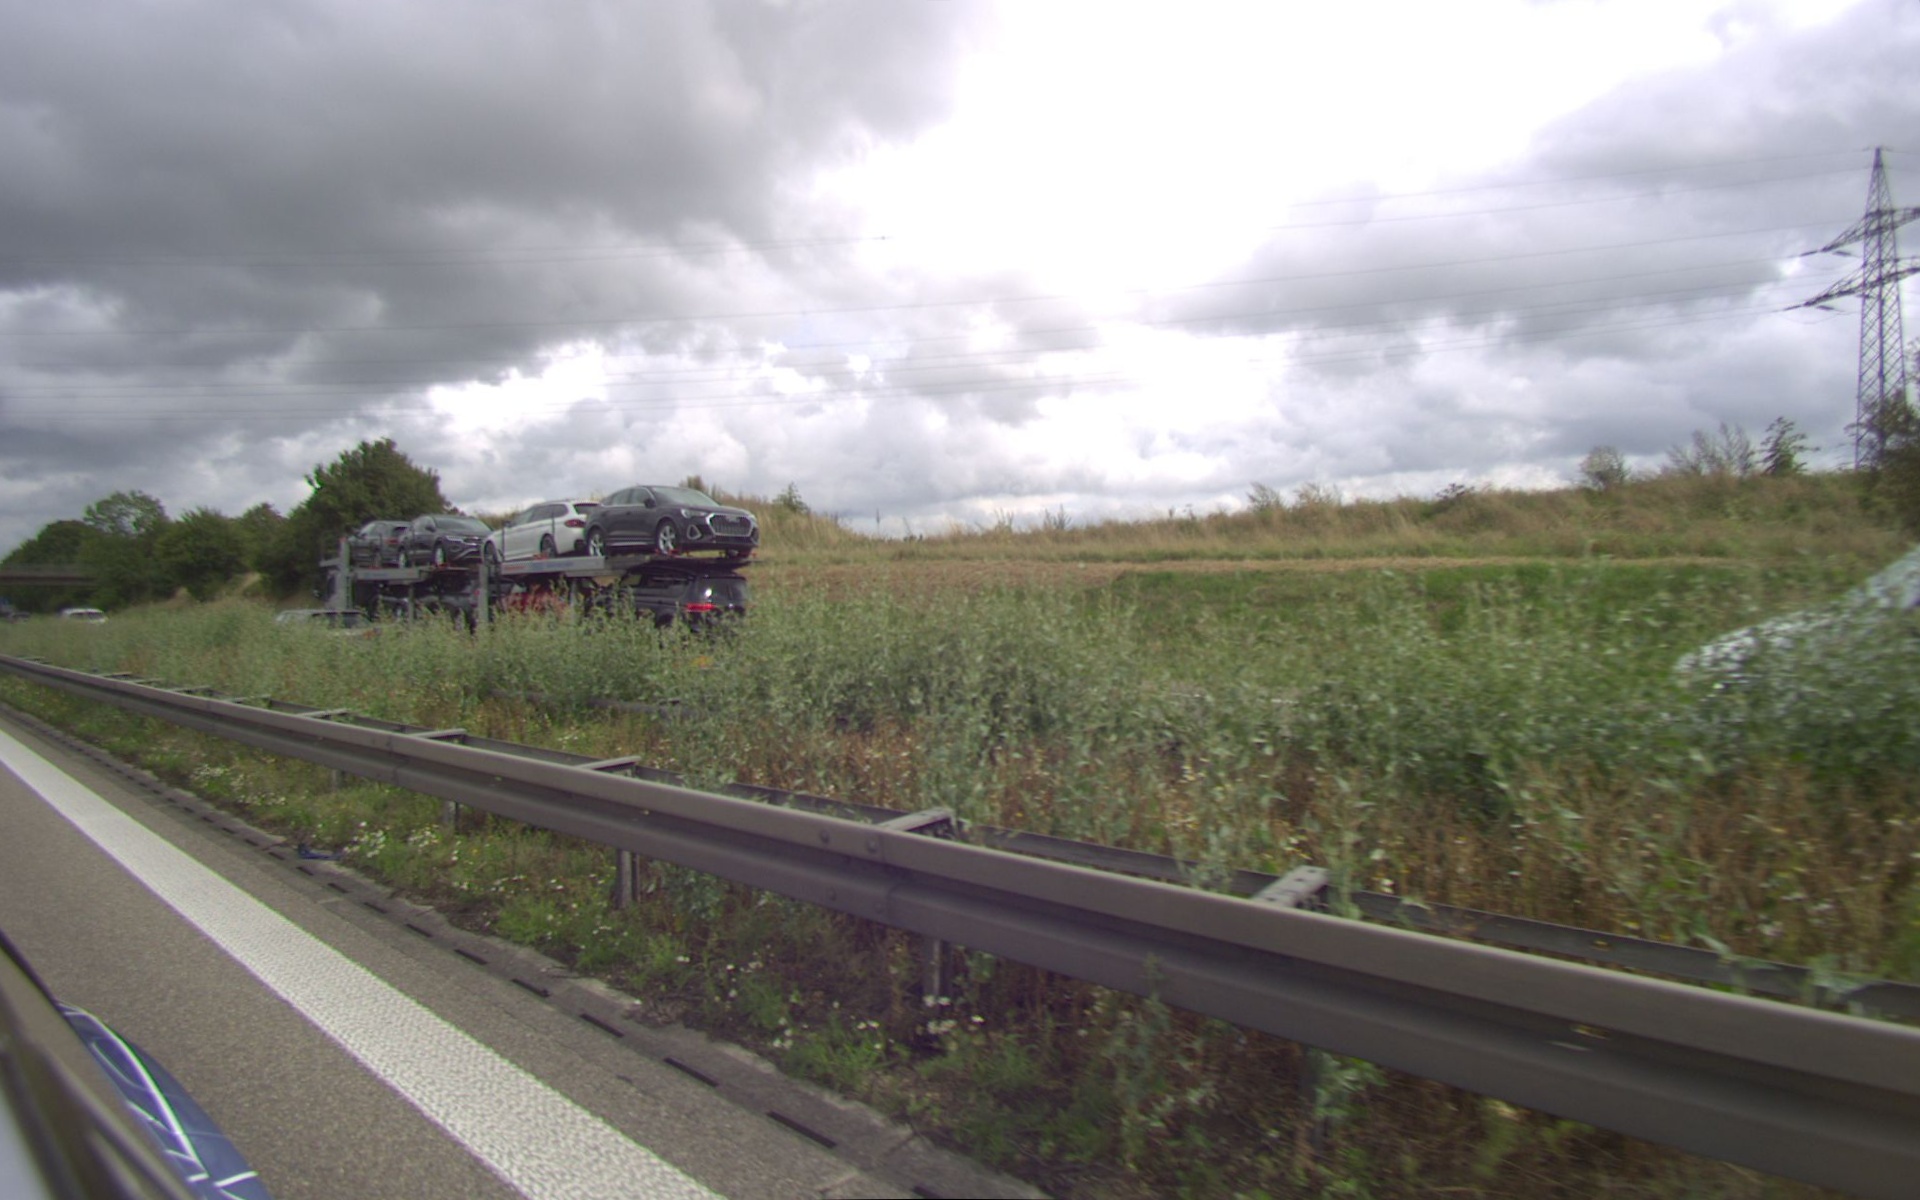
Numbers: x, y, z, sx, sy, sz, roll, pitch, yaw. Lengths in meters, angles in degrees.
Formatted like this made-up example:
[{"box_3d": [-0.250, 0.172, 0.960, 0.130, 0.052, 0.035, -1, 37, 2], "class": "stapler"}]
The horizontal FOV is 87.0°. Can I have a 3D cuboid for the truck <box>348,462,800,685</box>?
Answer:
[{"box_3d": [-10.532, -0.313, 24.799, 17.396, 3.966, 2.694, -1, -1, 42], "class": "truck"}]

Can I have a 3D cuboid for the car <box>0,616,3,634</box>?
[{"box_3d": [-80.955, 2.080, 83.928, 4.442, 1.468, 1.972, -1, 0, 42], "class": "car"}]

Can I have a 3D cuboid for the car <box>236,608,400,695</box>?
[{"box_3d": [-13.988, 1.033, 21.954, 4.301, 1.674, 1.972, -1, 0, 43], "class": "car"}]

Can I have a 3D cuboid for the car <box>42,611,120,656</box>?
[{"box_3d": [-38.229, 1.420, 43.988, 3.998, 1.696, 1.973, -1, 3, 41], "class": "car"}]

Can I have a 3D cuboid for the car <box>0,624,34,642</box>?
[{"box_3d": [-88.833, 3.075, 95.110, 5.618, 1.587, 1.909, -1, 0, 40], "class": "car"}]

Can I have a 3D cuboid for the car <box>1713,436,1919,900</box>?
[{"box_3d": [6.188, 0.267, 3.983, 5.030, 2.029, 1.973, -1, 0, 41], "class": "car"}]

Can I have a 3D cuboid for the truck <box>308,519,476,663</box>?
[{"box_3d": [-17.469, -0.190, 30.985, 5.985, 3.966, 2.694, -1, -1, 42], "class": "truck"}]
